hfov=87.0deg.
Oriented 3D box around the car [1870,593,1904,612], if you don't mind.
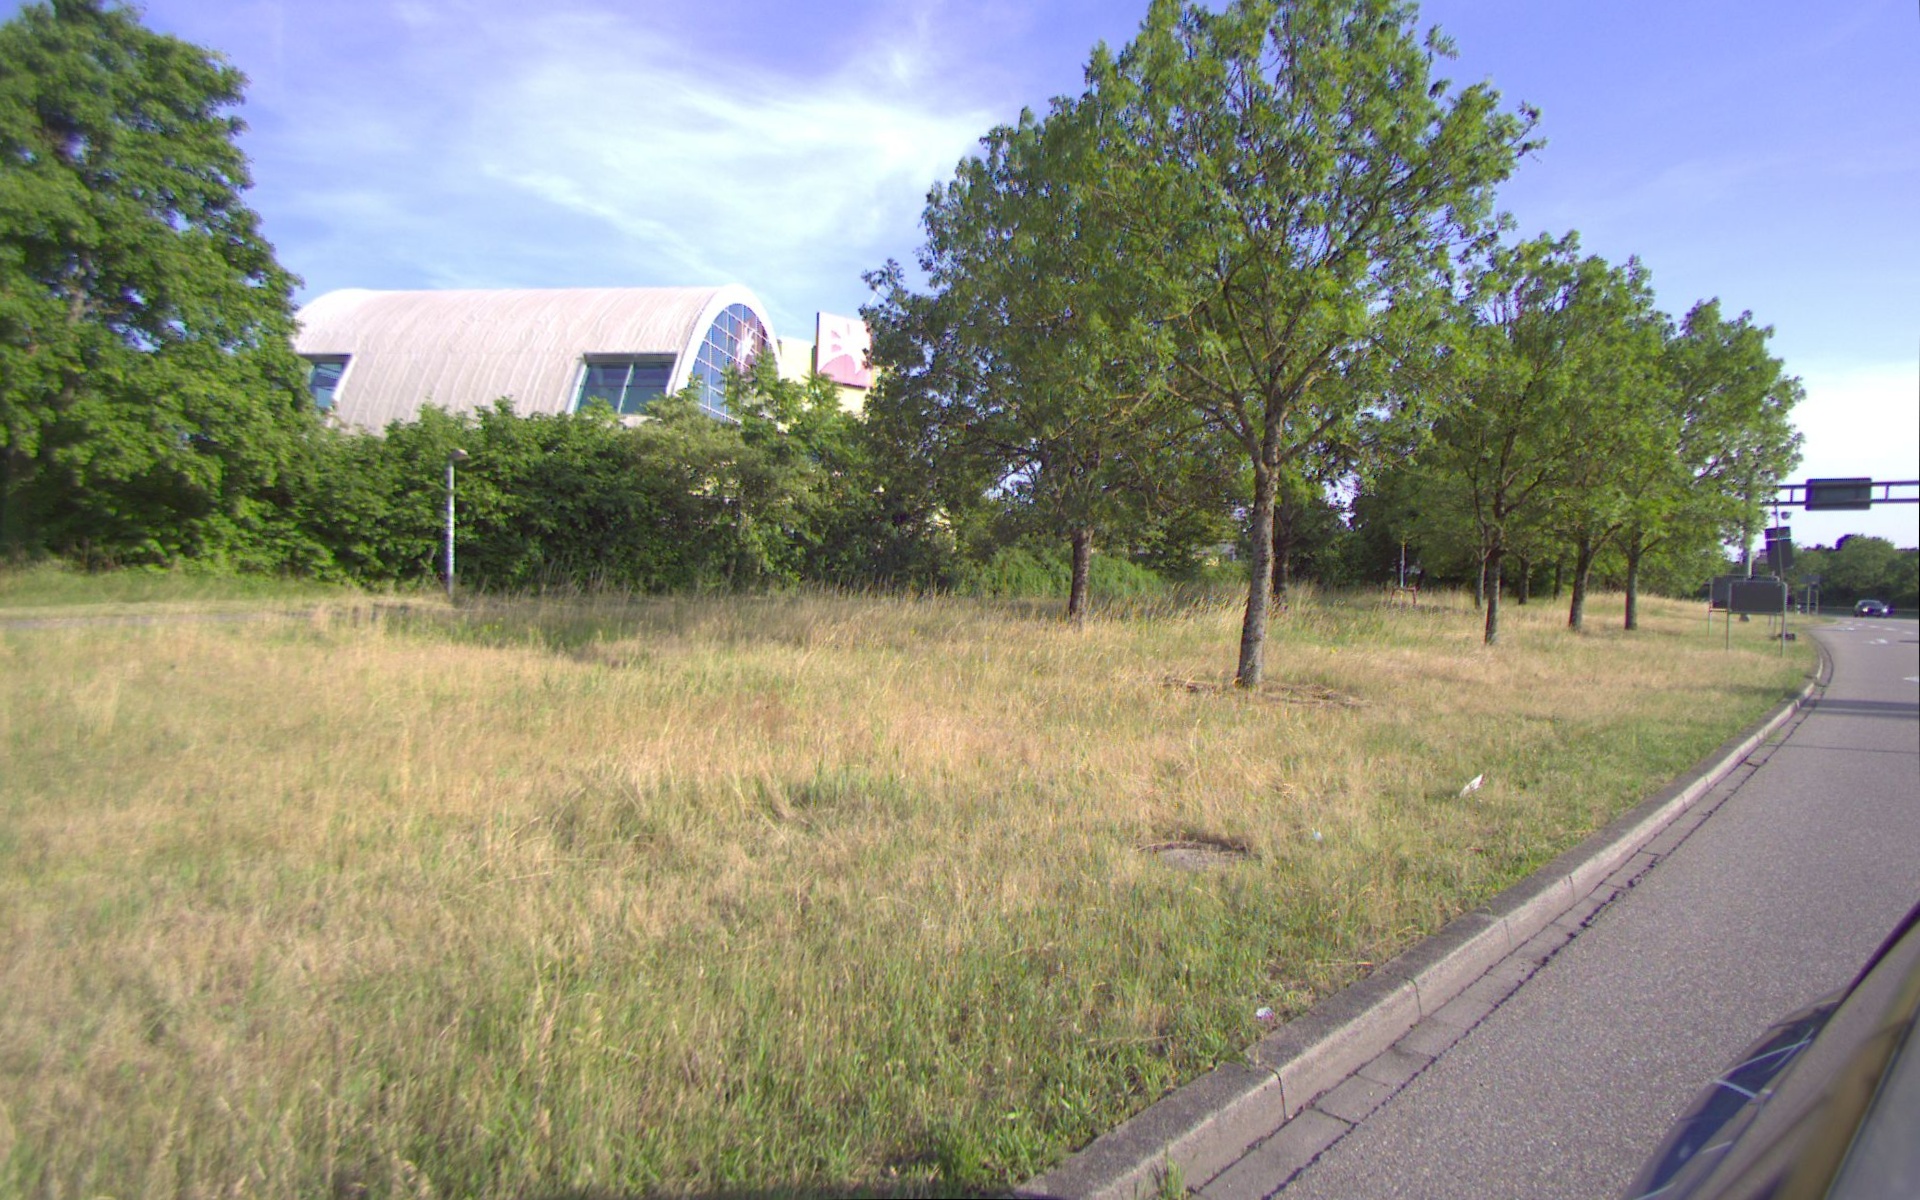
[{"bbox_3d":[78.154,0.182,85.342,1.888,1.474,3.853,3,3,40],"label":"car"}]
